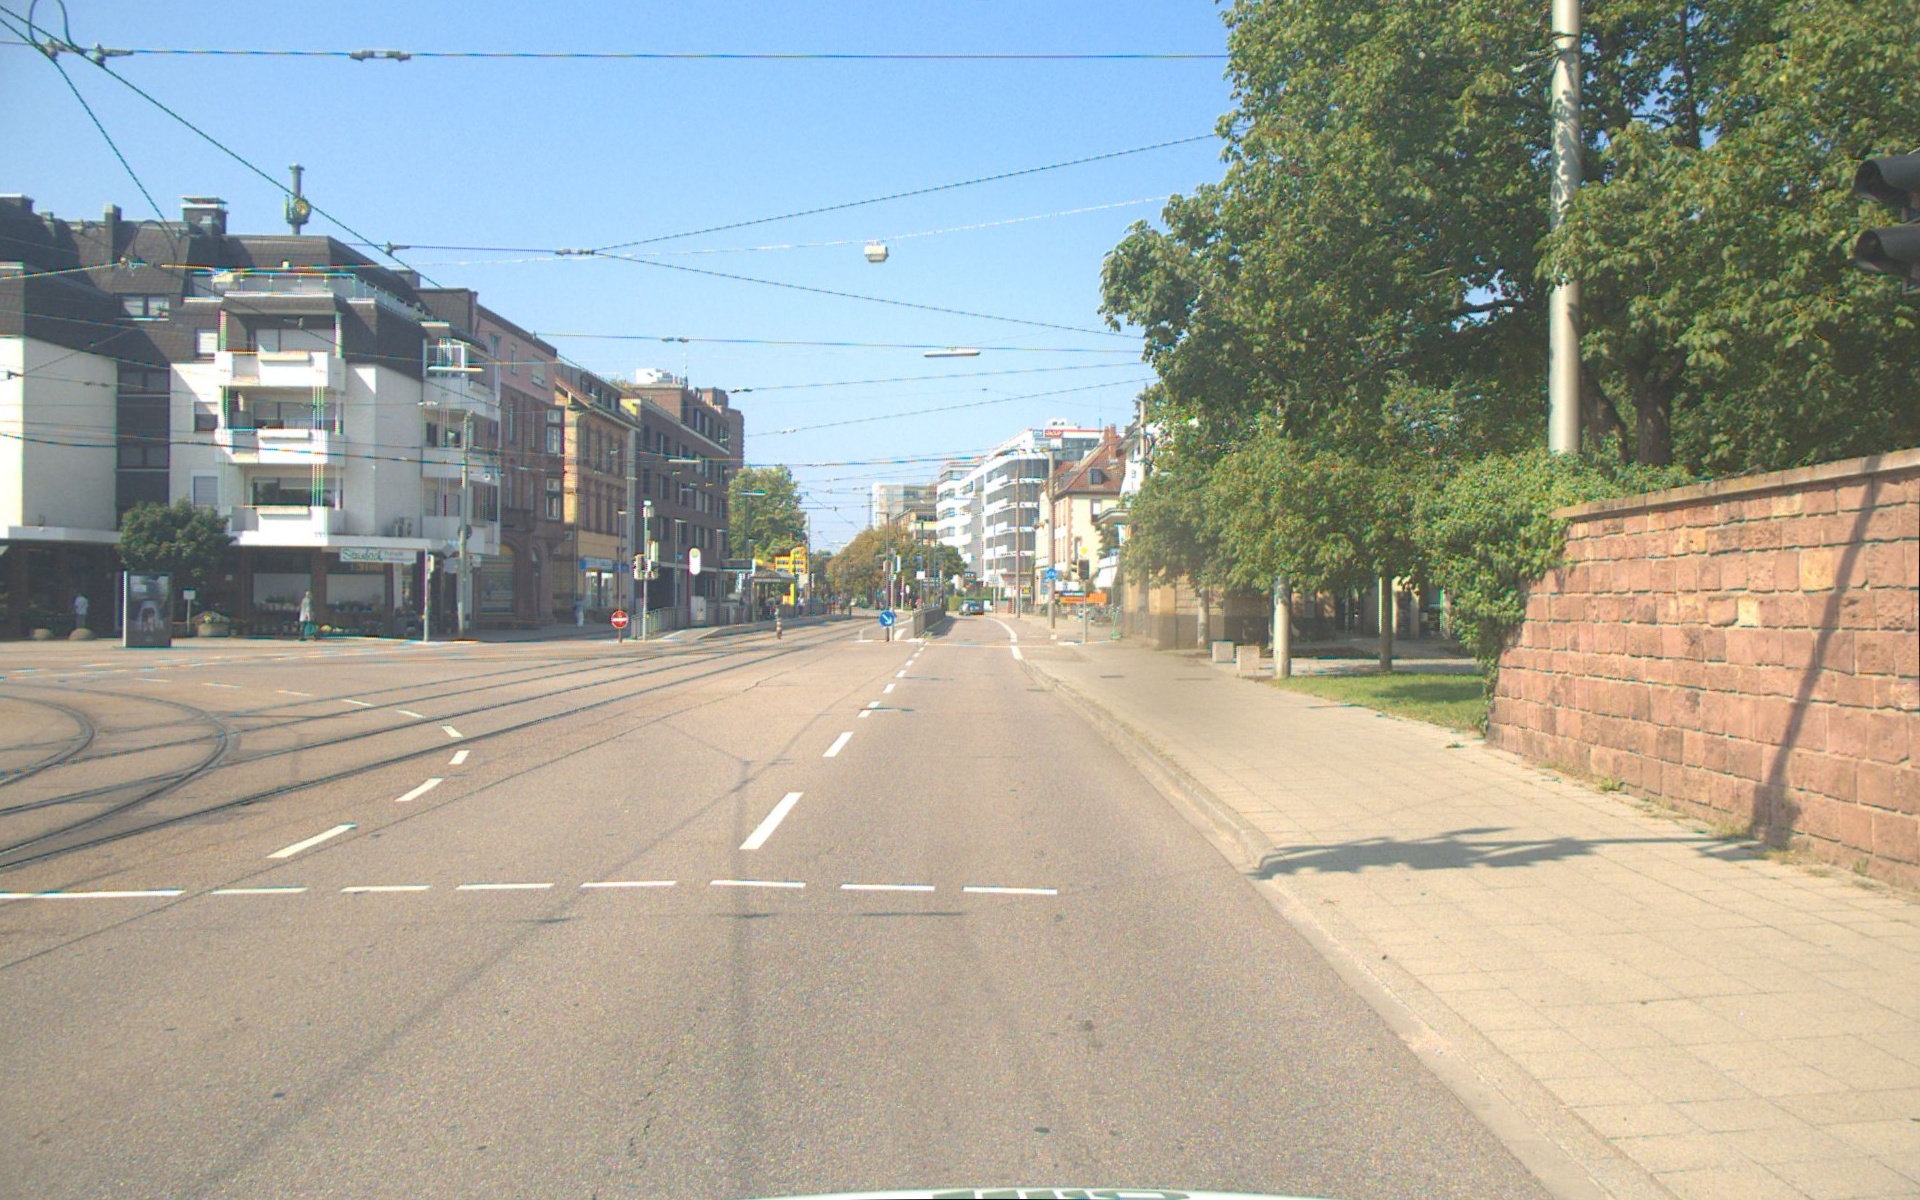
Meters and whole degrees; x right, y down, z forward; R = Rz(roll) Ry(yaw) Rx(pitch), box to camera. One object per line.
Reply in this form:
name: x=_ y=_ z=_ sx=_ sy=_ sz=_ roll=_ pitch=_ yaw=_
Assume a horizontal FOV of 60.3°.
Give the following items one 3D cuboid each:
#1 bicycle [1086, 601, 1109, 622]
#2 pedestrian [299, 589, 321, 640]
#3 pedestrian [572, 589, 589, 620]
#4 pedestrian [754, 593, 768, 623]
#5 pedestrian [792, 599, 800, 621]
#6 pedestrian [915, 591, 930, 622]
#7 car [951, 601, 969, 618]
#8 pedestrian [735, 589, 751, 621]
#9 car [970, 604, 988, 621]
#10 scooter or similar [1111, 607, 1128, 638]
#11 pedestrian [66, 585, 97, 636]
bicycle: x=7.770 y=0.647 z=93.608 sx=0.717 sy=1.152 sz=2.835 roll=-3 pitch=0 yaw=-7
pedestrian: x=-23.037 y=0.525 z=58.622 sx=0.592 sy=1.776 sz=0.559 roll=-1 pitch=-1 yaw=-33
pedestrian: x=-19.697 y=0.220 z=85.830 sx=0.472 sy=1.587 sz=0.888 roll=1 pitch=-1 yaw=11
pedestrian: x=-11.919 y=0.493 z=99.254 sx=0.693 sy=1.778 sz=0.799 roll=-1 pitch=-1 yaw=1
pedestrian: x=-11.560 y=0.730 z=116.779 sx=0.522 sy=1.557 sz=0.701 roll=-1 pitch=-1 yaw=-6
pedestrian: x=-2.089 y=0.371 z=92.311 sx=0.705 sy=1.733 sz=0.884 roll=-1 pitch=-1 yaw=1
car: x=0.002 y=1.081 z=189.583 sx=1.969 sy=1.891 sz=4.001 roll=-2 pitch=0 yaw=2
pedestrian: x=-12.063 y=0.259 z=92.013 sx=0.693 sy=1.754 sz=0.799 roll=-1 pitch=-1 yaw=1
car: x=2.118 y=1.370 z=183.467 sx=1.969 sy=1.891 sz=4.001 roll=-2 pitch=0 yaw=2
scooter or similar: x=5.971 y=0.841 z=61.953 sx=0.512 sy=1.153 sz=1.511 roll=-1 pitch=0 yaw=1
pedestrian: x=-30.655 y=0.371 z=57.693 sx=0.665 sy=1.771 sz=0.698 roll=-1 pitch=-1 yaw=2
